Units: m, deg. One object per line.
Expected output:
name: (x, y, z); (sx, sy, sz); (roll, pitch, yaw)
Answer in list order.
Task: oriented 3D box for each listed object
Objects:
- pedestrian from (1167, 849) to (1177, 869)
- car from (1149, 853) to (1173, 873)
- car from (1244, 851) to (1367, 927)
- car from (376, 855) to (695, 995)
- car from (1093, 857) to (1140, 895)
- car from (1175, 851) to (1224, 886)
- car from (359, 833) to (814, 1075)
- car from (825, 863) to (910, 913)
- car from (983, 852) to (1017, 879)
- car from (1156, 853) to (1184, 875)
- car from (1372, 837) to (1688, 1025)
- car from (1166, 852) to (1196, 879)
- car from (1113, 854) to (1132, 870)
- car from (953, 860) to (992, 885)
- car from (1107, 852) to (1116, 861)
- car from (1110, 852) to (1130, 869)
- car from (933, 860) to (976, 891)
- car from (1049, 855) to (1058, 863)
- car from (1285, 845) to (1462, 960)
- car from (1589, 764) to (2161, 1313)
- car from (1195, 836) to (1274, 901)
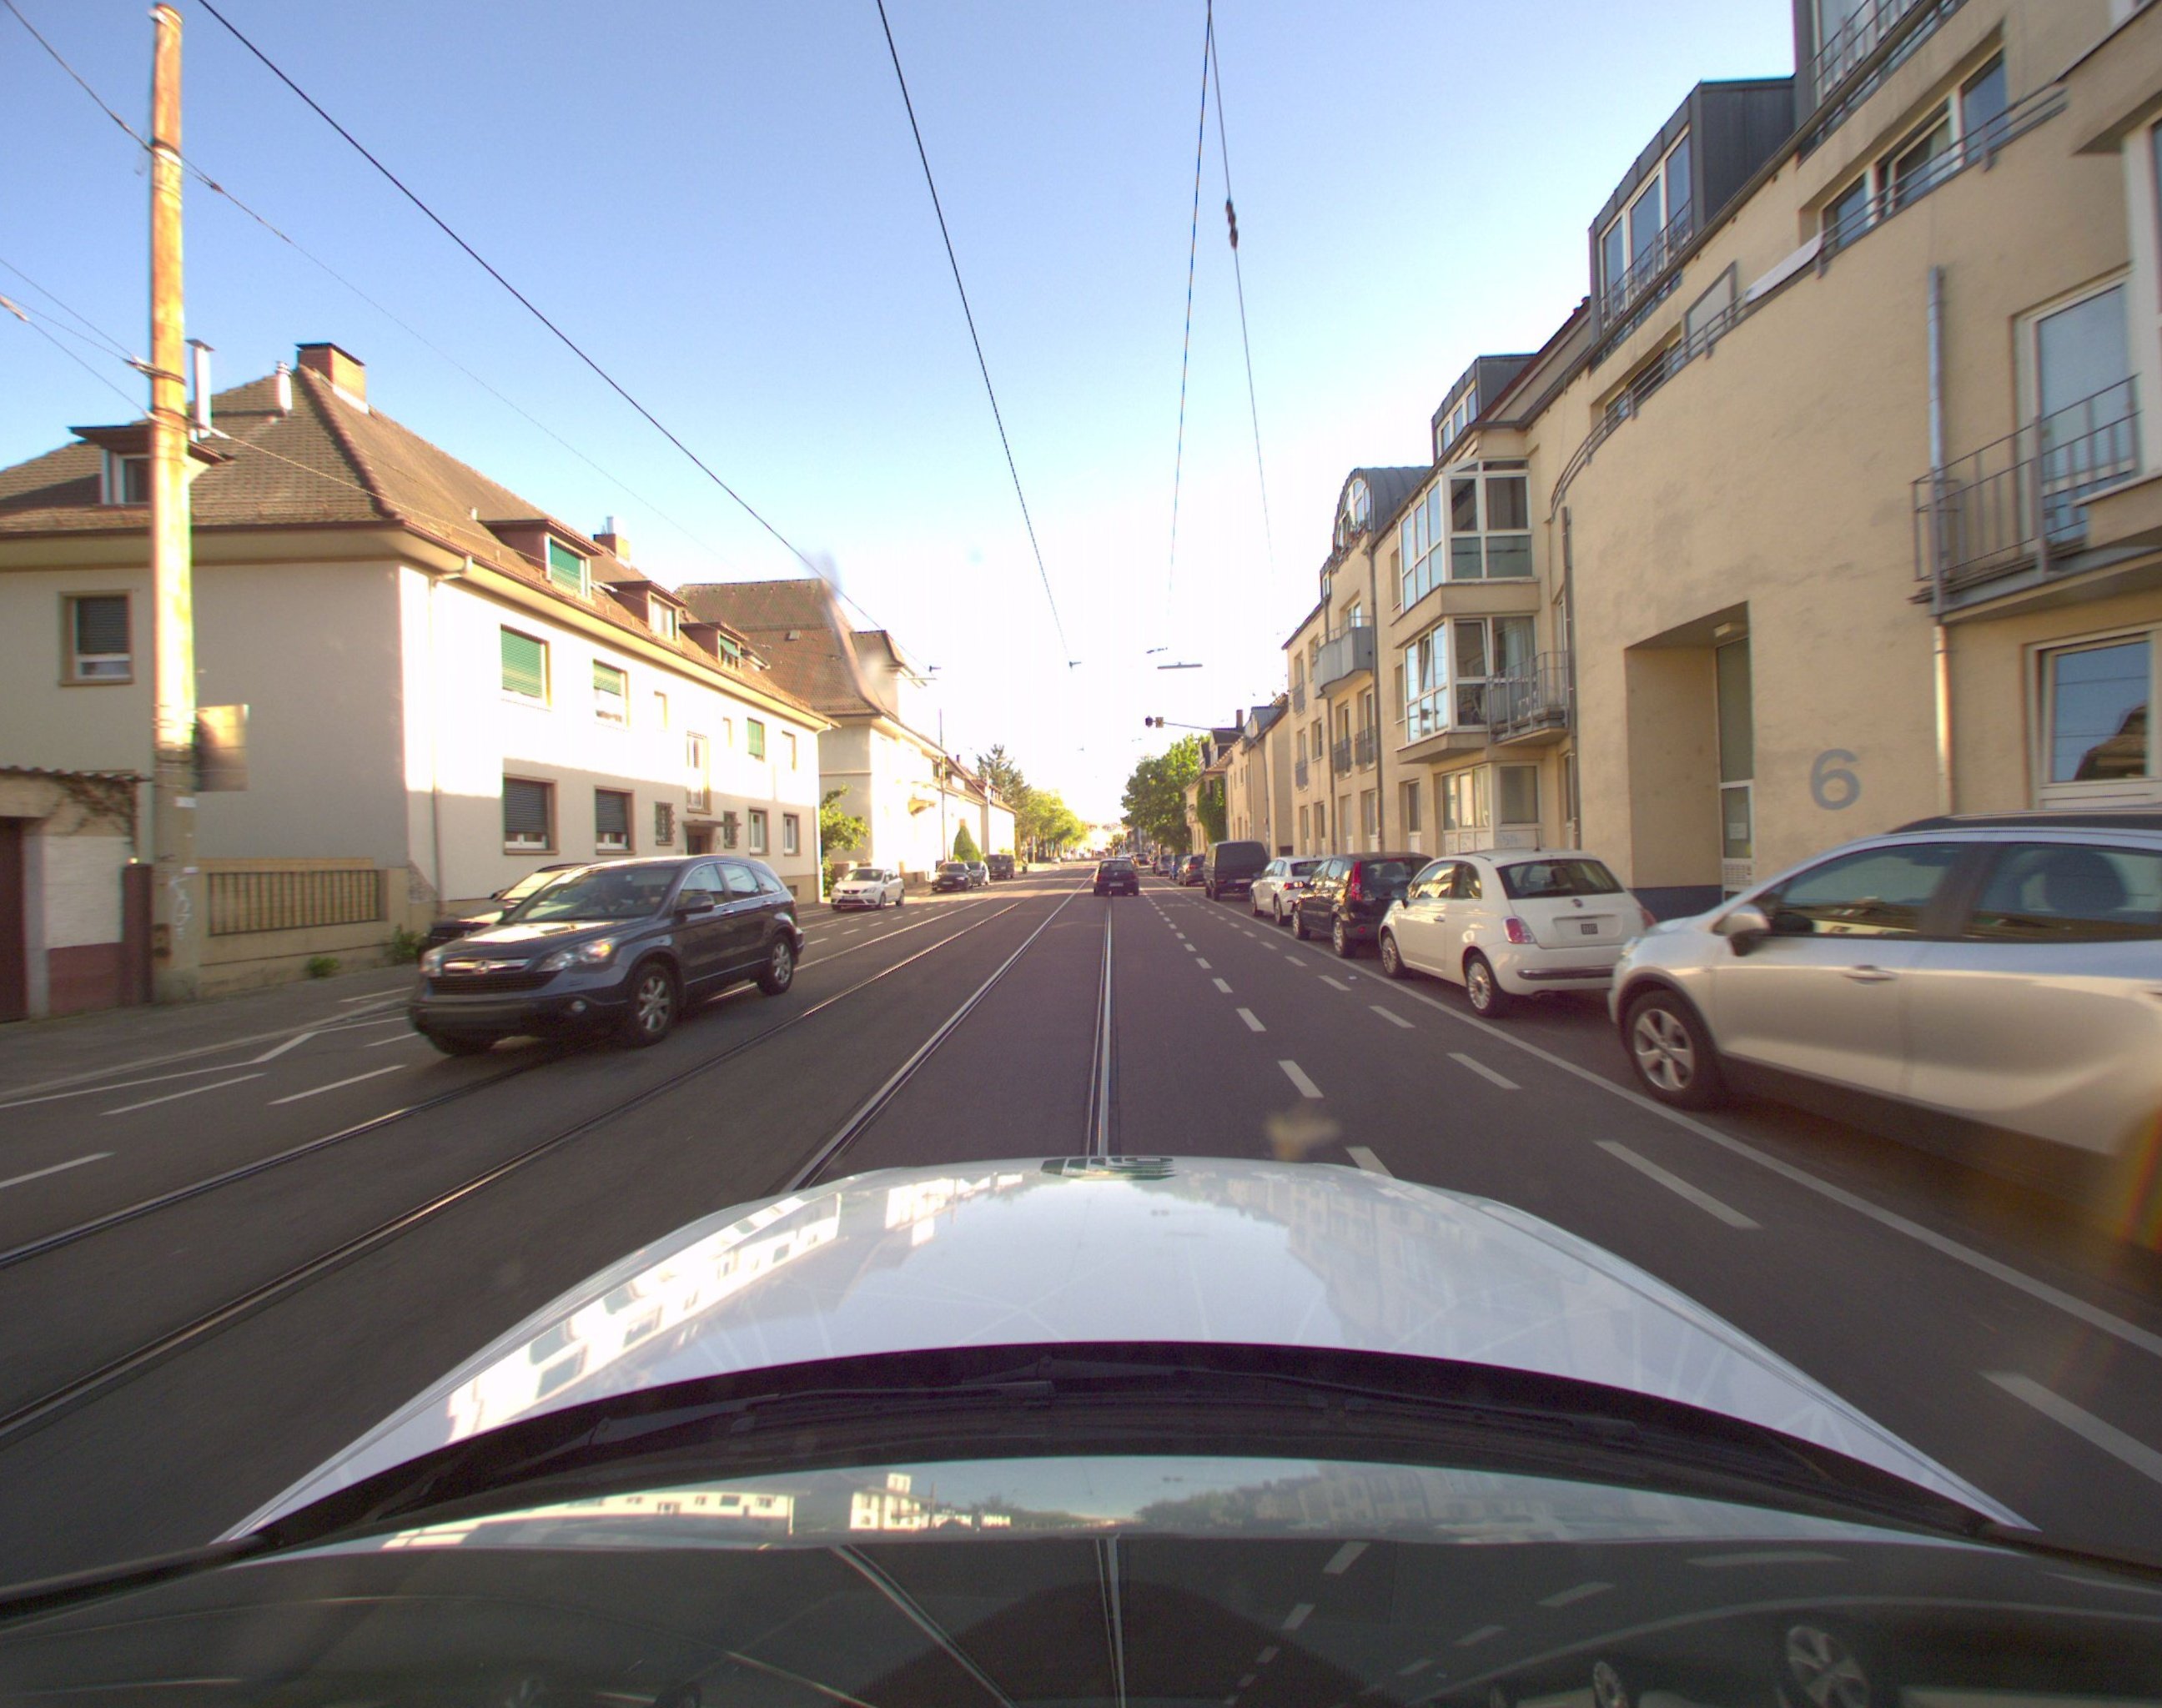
pedestrian: (8.154, 0.444, 73.001); (0.715, 1.688, 0.870); (-3, 0, 1)
car: (6.462, 0.701, 66.142); (1.659, 1.564, 3.773); (0, 0, 2)
car: (4.841, 0.683, 18.122); (1.671, 1.491, 4.174); (0, 0, 1)
car: (-8.066, 0.916, 12.709); (1.755, 1.704, 4.556); (-3, 0, 1)
car: (1.368, 0.806, 31.710); (1.709, 1.402, 4.008); (0, 0, 2)
car: (5.653, 0.653, 39.307); (1.738, 1.599, 4.433); (0, 0, 0)
car: (-4.382, 0.749, 8.207); (1.697, 1.704, 4.366); (-3, 0, 2)
car: (-7.220, 1.108, 27.913); (1.625, 1.457, 4.018); (-3, 0, 2)
car: (-6.275, 0.851, 63.410); (1.898, 2.014, 4.953); (0, 0, 3)
car: (6.290, 0.692, 57.664); (1.596, 1.525, 3.549); (0, 0, 0)
car: (4.331, 0.639, 8.447); (1.491, 1.557, 3.366); (0, 0, 1)
car: (6.008, 0.663, 49.051); (1.452, 1.599, 3.294); (0, 0, 0)
car: (3.930, 0.764, 77.193); (1.733, 1.441, 3.812); (-2, 0, 2)
car: (-6.554, 1.095, 49.457); (1.670, 1.477, 3.837); (0, 0, 2)
car: (6.506, 0.460, 171.939); (1.781, 1.860, 4.000); (1, 0, 0)
car: (3.261, 0.516, 67.792); (1.628, 1.372, 3.760); (-2, 0, 3)
car: (-6.574, 1.089, 42.767); (1.658, 1.477, 4.247); (-2, 0, -2)
car: (-5.115, 0.967, 151.585); (1.572, 1.477, 3.436); (-2, 0, -4)
car: (4.416, 0.651, 12.849); (1.548, 1.557, 3.653); (0, 0, 1)
car: (4.182, 0.568, 3.541); (1.596, 1.700, 3.992); (0, 0, 2)
car: (5.074, 0.446, 27.519); (1.899, 1.987, 4.564); (0, 0, 1)
